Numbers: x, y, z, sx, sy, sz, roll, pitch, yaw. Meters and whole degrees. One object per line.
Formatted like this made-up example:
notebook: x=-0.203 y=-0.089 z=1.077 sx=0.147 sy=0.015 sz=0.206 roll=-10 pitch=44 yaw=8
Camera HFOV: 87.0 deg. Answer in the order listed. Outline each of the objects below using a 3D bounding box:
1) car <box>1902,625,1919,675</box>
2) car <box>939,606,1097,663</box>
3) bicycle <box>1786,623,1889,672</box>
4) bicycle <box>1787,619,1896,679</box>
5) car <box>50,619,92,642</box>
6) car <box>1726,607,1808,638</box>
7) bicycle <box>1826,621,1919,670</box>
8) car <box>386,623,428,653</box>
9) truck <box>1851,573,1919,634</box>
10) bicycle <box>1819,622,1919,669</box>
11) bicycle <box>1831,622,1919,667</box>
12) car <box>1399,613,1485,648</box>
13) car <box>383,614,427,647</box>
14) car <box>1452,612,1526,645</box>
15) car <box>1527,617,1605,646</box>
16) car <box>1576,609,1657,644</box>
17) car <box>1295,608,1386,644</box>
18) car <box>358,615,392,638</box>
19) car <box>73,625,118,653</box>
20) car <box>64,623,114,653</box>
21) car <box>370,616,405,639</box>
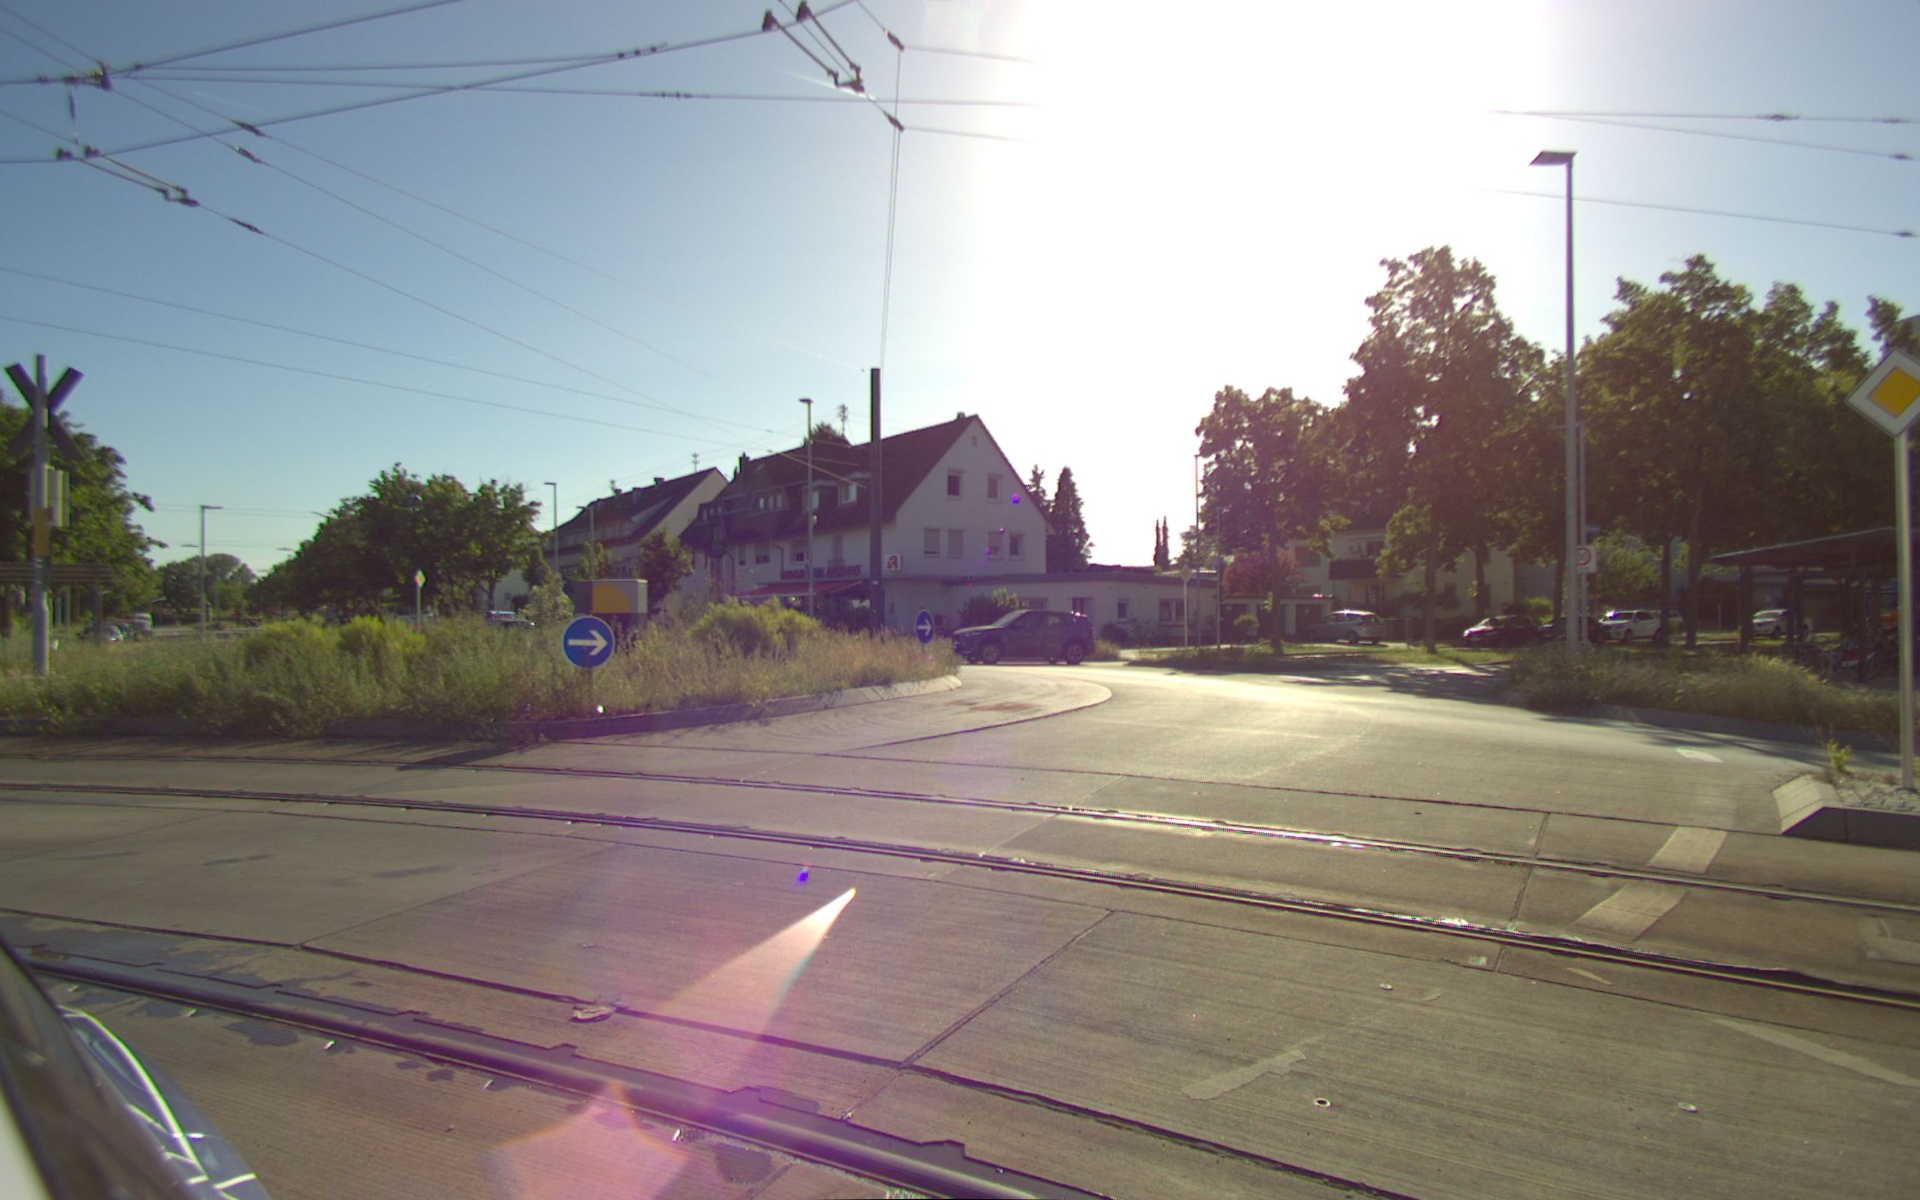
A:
car: x=31.585 y=1.599 z=31.110 sx=1.550 sy=1.545 sz=3.539 roll=0 pitch=0 yaw=-30
car: x=1.741 y=1.016 z=30.496 sx=4.364 sy=1.592 sz=1.843 roll=1 pitch=0 yaw=-19
bicycle: x=20.217 y=1.071 z=23.352 sx=0.589 sy=1.035 sz=1.700 roll=0 pitch=0 yaw=-34
bicycle: x=19.395 y=1.053 z=22.300 sx=0.677 sy=1.217 sz=1.675 roll=0 pitch=0 yaw=-34
car: x=-57.522 y=1.992 z=65.545 sx=1.797 sy=1.403 sz=3.876 roll=0 pitch=-2 yaw=-38
car: x=49.119 y=1.322 z=61.581 sx=4.972 sy=1.786 sz=2.007 roll=0 pitch=0 yaw=-27
bicycle: x=21.680 y=1.055 z=23.830 sx=0.677 sy=1.035 sz=1.852 roll=0 pitch=0 yaw=-34
car: x=-34.597 y=2.342 z=63.276 sx=1.892 sy=1.628 sz=4.295 roll=0 pitch=1 yaw=-34
truck: x=64.740 y=0.211 z=69.488 sx=7.872 sy=4.023 sz=3.089 roll=0 pitch=1 yaw=-31
bicycle: x=22.250 y=1.085 z=24.581 sx=0.684 sy=1.035 sz=1.985 roll=0 pitch=0 yaw=-34
bicycle: x=23.013 y=1.090 z=25.124 sx=0.677 sy=1.035 sz=1.985 roll=0 pitch=0 yaw=-34
car: x=20.592 y=1.266 z=43.167 sx=3.934 sy=1.375 sz=1.604 roll=0 pitch=0 yaw=-35
car: x=-37.783 y=2.036 z=68.805 sx=1.866 sy=2.029 sz=4.379 roll=0 pitch=1 yaw=-39
car: x=25.431 y=1.317 z=48.647 sx=3.741 sy=1.475 sz=1.809 roll=0 pitch=1 yaw=-39
car: x=30.818 y=1.560 z=51.460 sx=3.934 sy=1.334 sz=1.973 roll=0 pitch=1 yaw=-35
car: x=34.947 y=1.382 z=53.883 sx=4.146 sy=1.712 sz=2.006 roll=0 pitch=0 yaw=-31
car: x=19.410 y=1.278 z=51.785 sx=1.966 sy=1.707 sz=4.063 roll=0 pitch=0 yaw=-29
car: x=-44.211 y=1.976 z=76.444 sx=1.527 sy=1.689 sz=4.228 roll=0 pitch=-1 yaw=-39
car: x=-50.390 y=2.256 z=59.029 sx=1.797 sy=1.403 sz=3.877 roll=0 pitch=1 yaw=-38
car: x=-46.322 y=1.999 z=53.886 sx=1.797 sy=1.403 sz=3.798 roll=0 pitch=1 yaw=-38
car: x=-41.238 y=1.988 z=72.893 sx=1.521 sy=1.604 sz=4.084 roll=0 pitch=-1 yaw=-39
